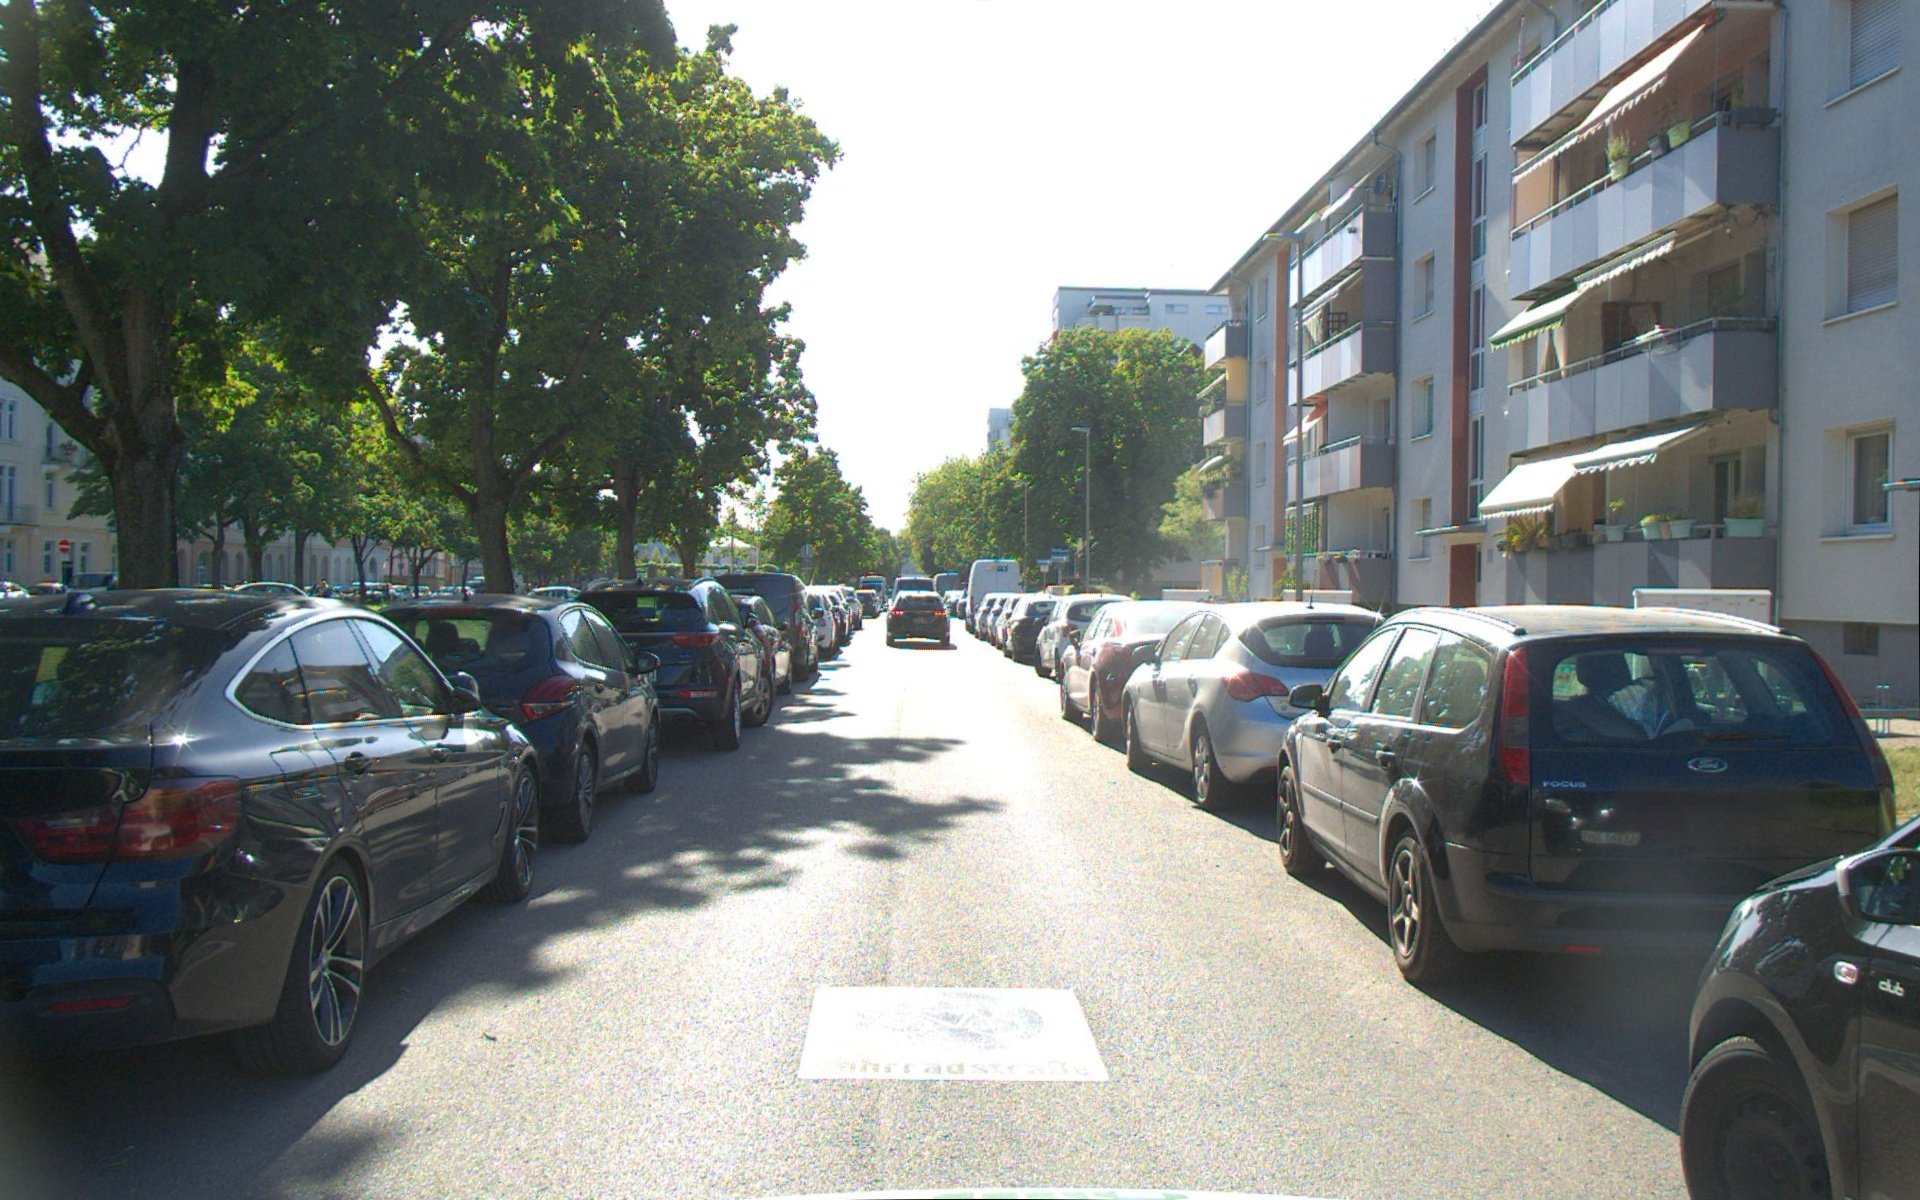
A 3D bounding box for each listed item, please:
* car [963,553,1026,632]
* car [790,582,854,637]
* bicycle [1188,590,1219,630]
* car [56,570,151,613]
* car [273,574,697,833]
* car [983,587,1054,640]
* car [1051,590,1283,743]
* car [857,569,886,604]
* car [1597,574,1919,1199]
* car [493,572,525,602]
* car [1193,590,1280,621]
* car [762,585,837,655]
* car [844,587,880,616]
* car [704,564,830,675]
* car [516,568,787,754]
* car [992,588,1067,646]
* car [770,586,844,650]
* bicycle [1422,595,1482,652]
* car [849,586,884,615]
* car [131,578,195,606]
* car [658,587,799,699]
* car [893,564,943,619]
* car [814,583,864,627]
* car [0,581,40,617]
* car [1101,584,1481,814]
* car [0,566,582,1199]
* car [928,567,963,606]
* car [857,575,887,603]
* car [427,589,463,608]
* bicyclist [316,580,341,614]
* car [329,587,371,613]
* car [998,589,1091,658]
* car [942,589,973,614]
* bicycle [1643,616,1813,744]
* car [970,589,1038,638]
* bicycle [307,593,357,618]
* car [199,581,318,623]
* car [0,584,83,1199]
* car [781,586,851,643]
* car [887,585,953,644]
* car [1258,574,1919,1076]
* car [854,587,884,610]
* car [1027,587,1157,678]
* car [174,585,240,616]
[{"bbox_3d":[1.228,-0.300,61.901,2.099,2.760,6.840,-1,0,-1],"label":"car"},{"bbox_3d":[-4.393,0.273,53.107,1.783,1.638,4.737,-1,0,-2],"label":"car"},{"bbox_3d":[7.523,0.320,51.136,0.584,1.197,2.012,1,-1,-3],"label":"bicycle"},{"bbox_3d":[-39.647,-0.383,76.702,2.041,1.905,5.094,0,0,-5],"label":"car"},{"bbox_3d":[-2.981,0.593,11.229,1.842,1.444,3.802,0,0,-1],"label":"car"},{"bbox_3d":[1.699,0.366,49.260,1.840,1.501,4.139,0,0,-2],"label":"car"},{"bbox_3d":[2.197,0.650,18.948,1.806,1.498,5.063,0,0,-3],"label":"car"},{"bbox_3d":[-6.653,-1.017,124.833,2.056,2.540,4.126,0,0,-1],"label":"car"},{"bbox_3d":[2.590,0.735,2.537,1.625,1.499,3.791,2,0,-2],"label":"car"},{"bbox_3d":[-42.840,-1.245,157.242,1.878,2.792,5.620,0,0,-4],"label":"car"},{"bbox_3d":[13.100,0.252,78.436,3.812,1.454,1.657,0,0,-6],"label":"car"},{"bbox_3d":[-3.688,0.435,38.484,1.555,1.518,3.683,-1,1,-4],"label":"car"},{"bbox_3d":[-5.173,0.065,87.751,1.712,1.449,3.915,-2,0,-1],"label":"car"},{"bbox_3d":[-3.370,0.335,29.678,1.827,1.816,4.989,0,0,-2],"label":"car"},{"bbox_3d":[-3.035,0.531,17.339,1.985,1.654,4.756,-1,0,-1],"label":"car"},{"bbox_3d":[1.805,0.421,43.886,1.686,1.460,4.151,0,0,-2],"label":"car"},{"bbox_3d":[-3.923,0.426,42.922,1.720,1.518,4.665,-1,1,-3],"label":"car"},{"bbox_3d":[9.976,0.457,33.588,0.513,1.089,2.009,-2,0,-3],"label":"bicycle"},{"bbox_3d":[-5.217,0.019,92.272,1.741,1.521,3.874,-2,0,-1],"label":"car"},{"bbox_3d":[-39.507,-0.405,82.088,1.661,1.301,3.523,0,0,-5],"label":"car"},{"bbox_3d":[-3.212,0.548,23.603,1.507,1.453,4.086,0,0,-1],"label":"car"},{"bbox_3d":[-1.598,-0.320,64.096,1.856,2.026,4.009,-1,0,-1],"label":"car"},{"bbox_3d":[-4.775,0.175,65.705,1.720,1.676,4.286,-1,0,-1],"label":"car"},{"bbox_3d":[-44.852,-0.066,76.991,1.955,1.614,4.447,0,0,-6],"label":"car"},{"bbox_3d":[2.472,0.661,13.569,1.837,1.560,4.488,0,0,-5],"label":"car"},{"bbox_3d":[-2.889,0.679,6.538,1.954,1.543,5.153,-1,1,-5],"label":"car"},{"bbox_3d":[-1.060,-0.977,119.149,2.121,2.736,5.411,0,0,-5],"label":"car"},{"bbox_3d":[-6.274,-0.791,118.434,2.056,1.976,4.125,0,0,-2],"label":"car"},{"bbox_3d":[-41.886,-0.149,134.538,1.809,1.465,3.773,1,0,-2],"label":"car"},{"bbox_3d":[-26.847,-0.116,70.338,0.866,1.386,0.617,1,5,-32],"label":"bicyclist"},{"bbox_3d":[-40.733,-0.006,110.501,1.599,1.716,4.077,0,0,-5],"label":"car"},{"bbox_3d":[1.898,0.505,38.456,1.665,1.460,4.468,-1,0,-3],"label":"car"},{"bbox_3d":[-0.151,0.076,97.633,1.743,1.395,4.126,1,0,-1],"label":"car"},{"bbox_3d":[7.213,0.723,15.641,0.705,1.096,1.896,1,0,-1],"label":"bicycle"},{"bbox_3d":[1.390,0.410,53.936,1.812,1.491,4.199,1,1,-3],"label":"car"},{"bbox_3d":[-26.667,0.219,70.230,1.952,1.034,0.653,0,0,-28],"label":"bicycle"},{"bbox_3d":[-27.918,0.055,65.852,4.281,1.604,1.913,0,1,-27],"label":"car"},{"bbox_3d":[-2.487,0.722,0.769,1.799,1.477,4.964,0,0,-4],"label":"car"},{"bbox_3d":[-4.127,0.380,48.085,1.836,1.546,4.468,-2,1,-3],"label":"car"},{"bbox_3d":[-1.093,0.372,46.400,1.743,1.558,3.999,2,0,-1],"label":"car"},{"bbox_3d":[2.651,0.687,7.433,1.734,1.556,4.557,0,0,-1],"label":"car"},{"bbox_3d":[-6.038,-0.116,109.975,1.796,1.526,4.126,1,0,-1],"label":"car"},{"bbox_3d":[2.312,0.537,29.888,1.714,1.525,3.857,0,0,-5],"label":"car"},{"bbox_3d":[-39.746,0.021,87.388,1.661,1.589,4.694,0,0,-4],"label":"car"}]
